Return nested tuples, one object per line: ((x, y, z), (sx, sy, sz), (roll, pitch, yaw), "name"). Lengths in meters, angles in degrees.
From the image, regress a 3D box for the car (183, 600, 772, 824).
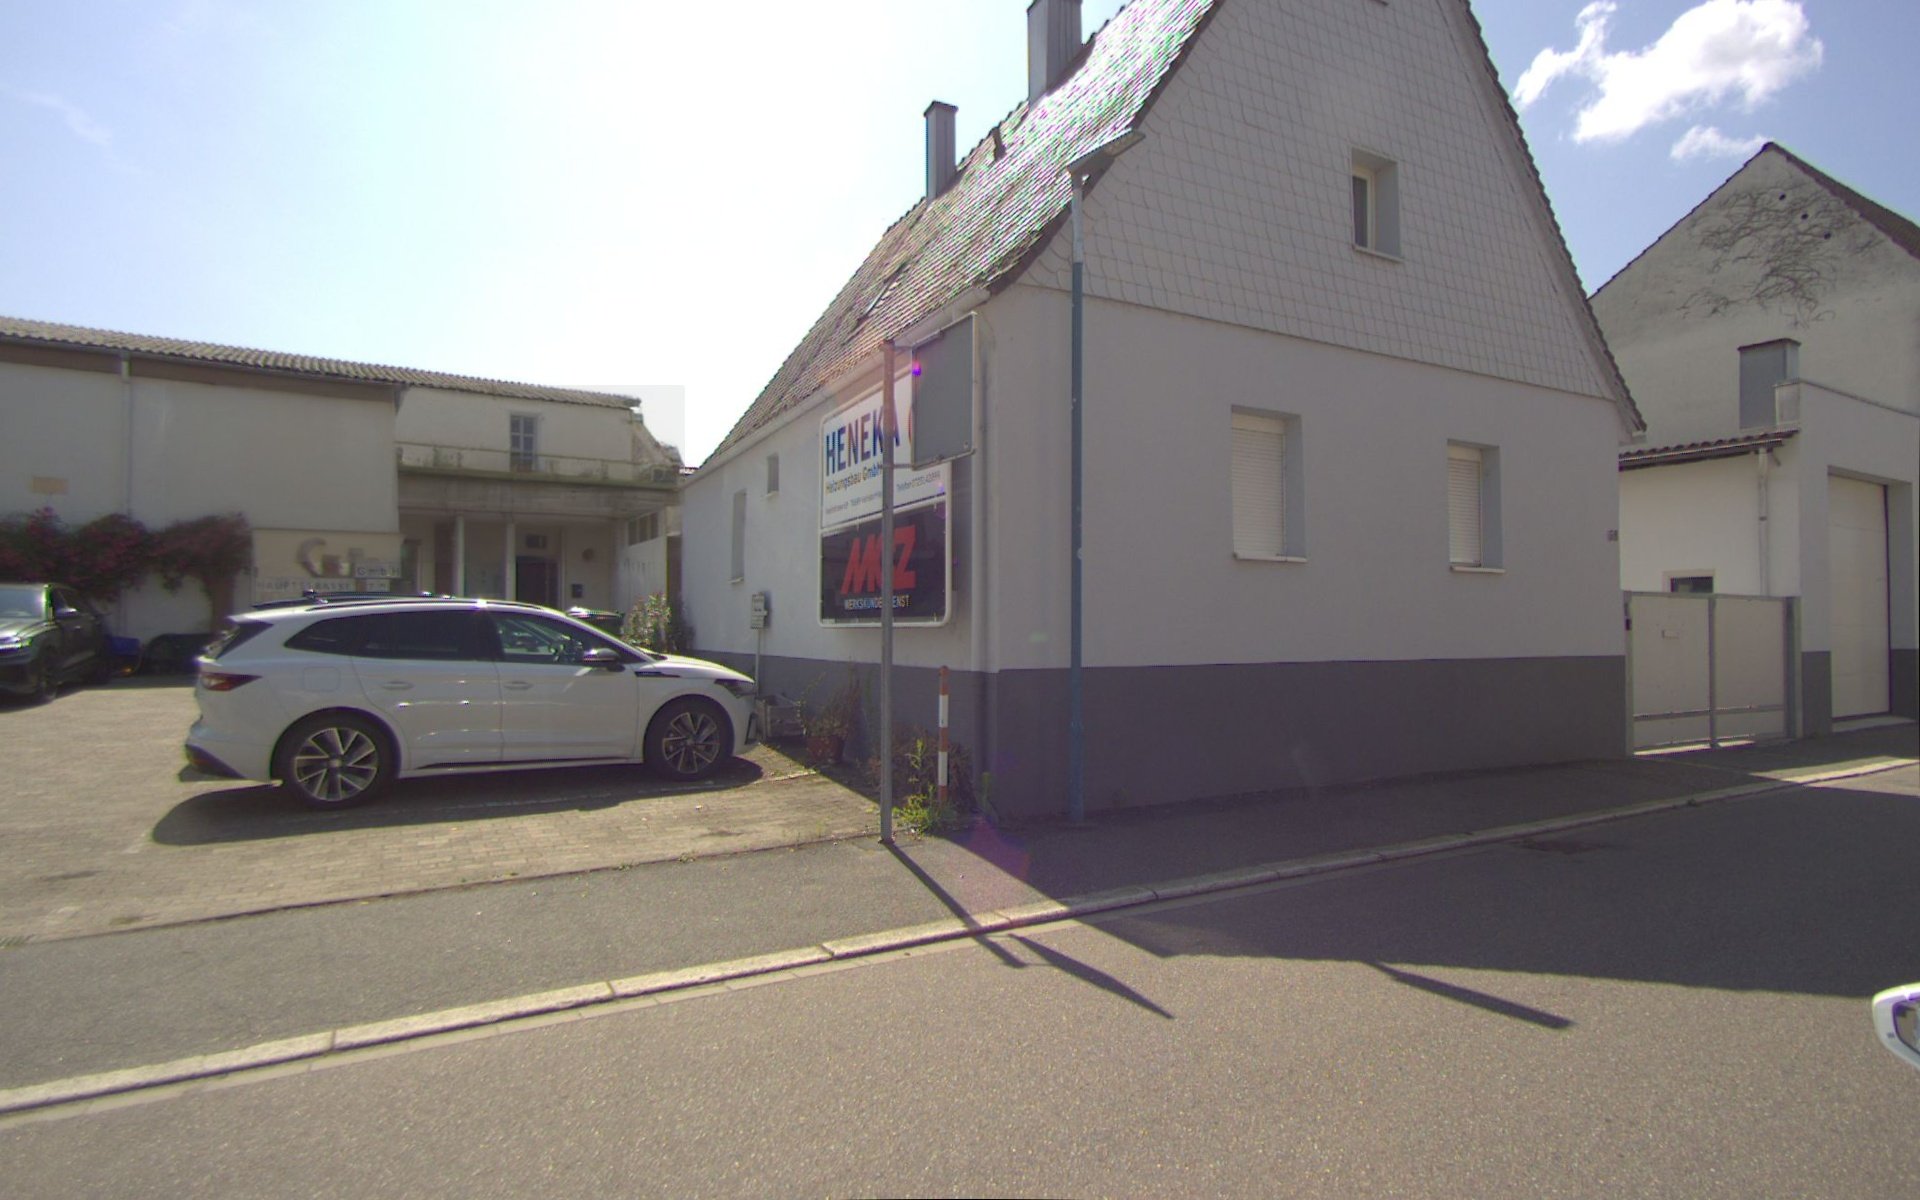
((-4.113, 0.836, 9.090), (4.430, 1.591, 1.764), (1, -1, -33), "car")

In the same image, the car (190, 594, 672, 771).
((-5.674, 0.807, 11.216), (4.428, 1.641, 1.765), (1, -1, -32), "car")

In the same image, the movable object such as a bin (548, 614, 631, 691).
((-6.666, 0.909, 18.038), (1.196, 1.318, 1.382), (1, -1, -29), "movable object such as a bin")

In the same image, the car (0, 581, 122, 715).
((-14.135, 0.637, 14.742), (2.013, 1.748, 4.659), (1, -1, -30), "car")
